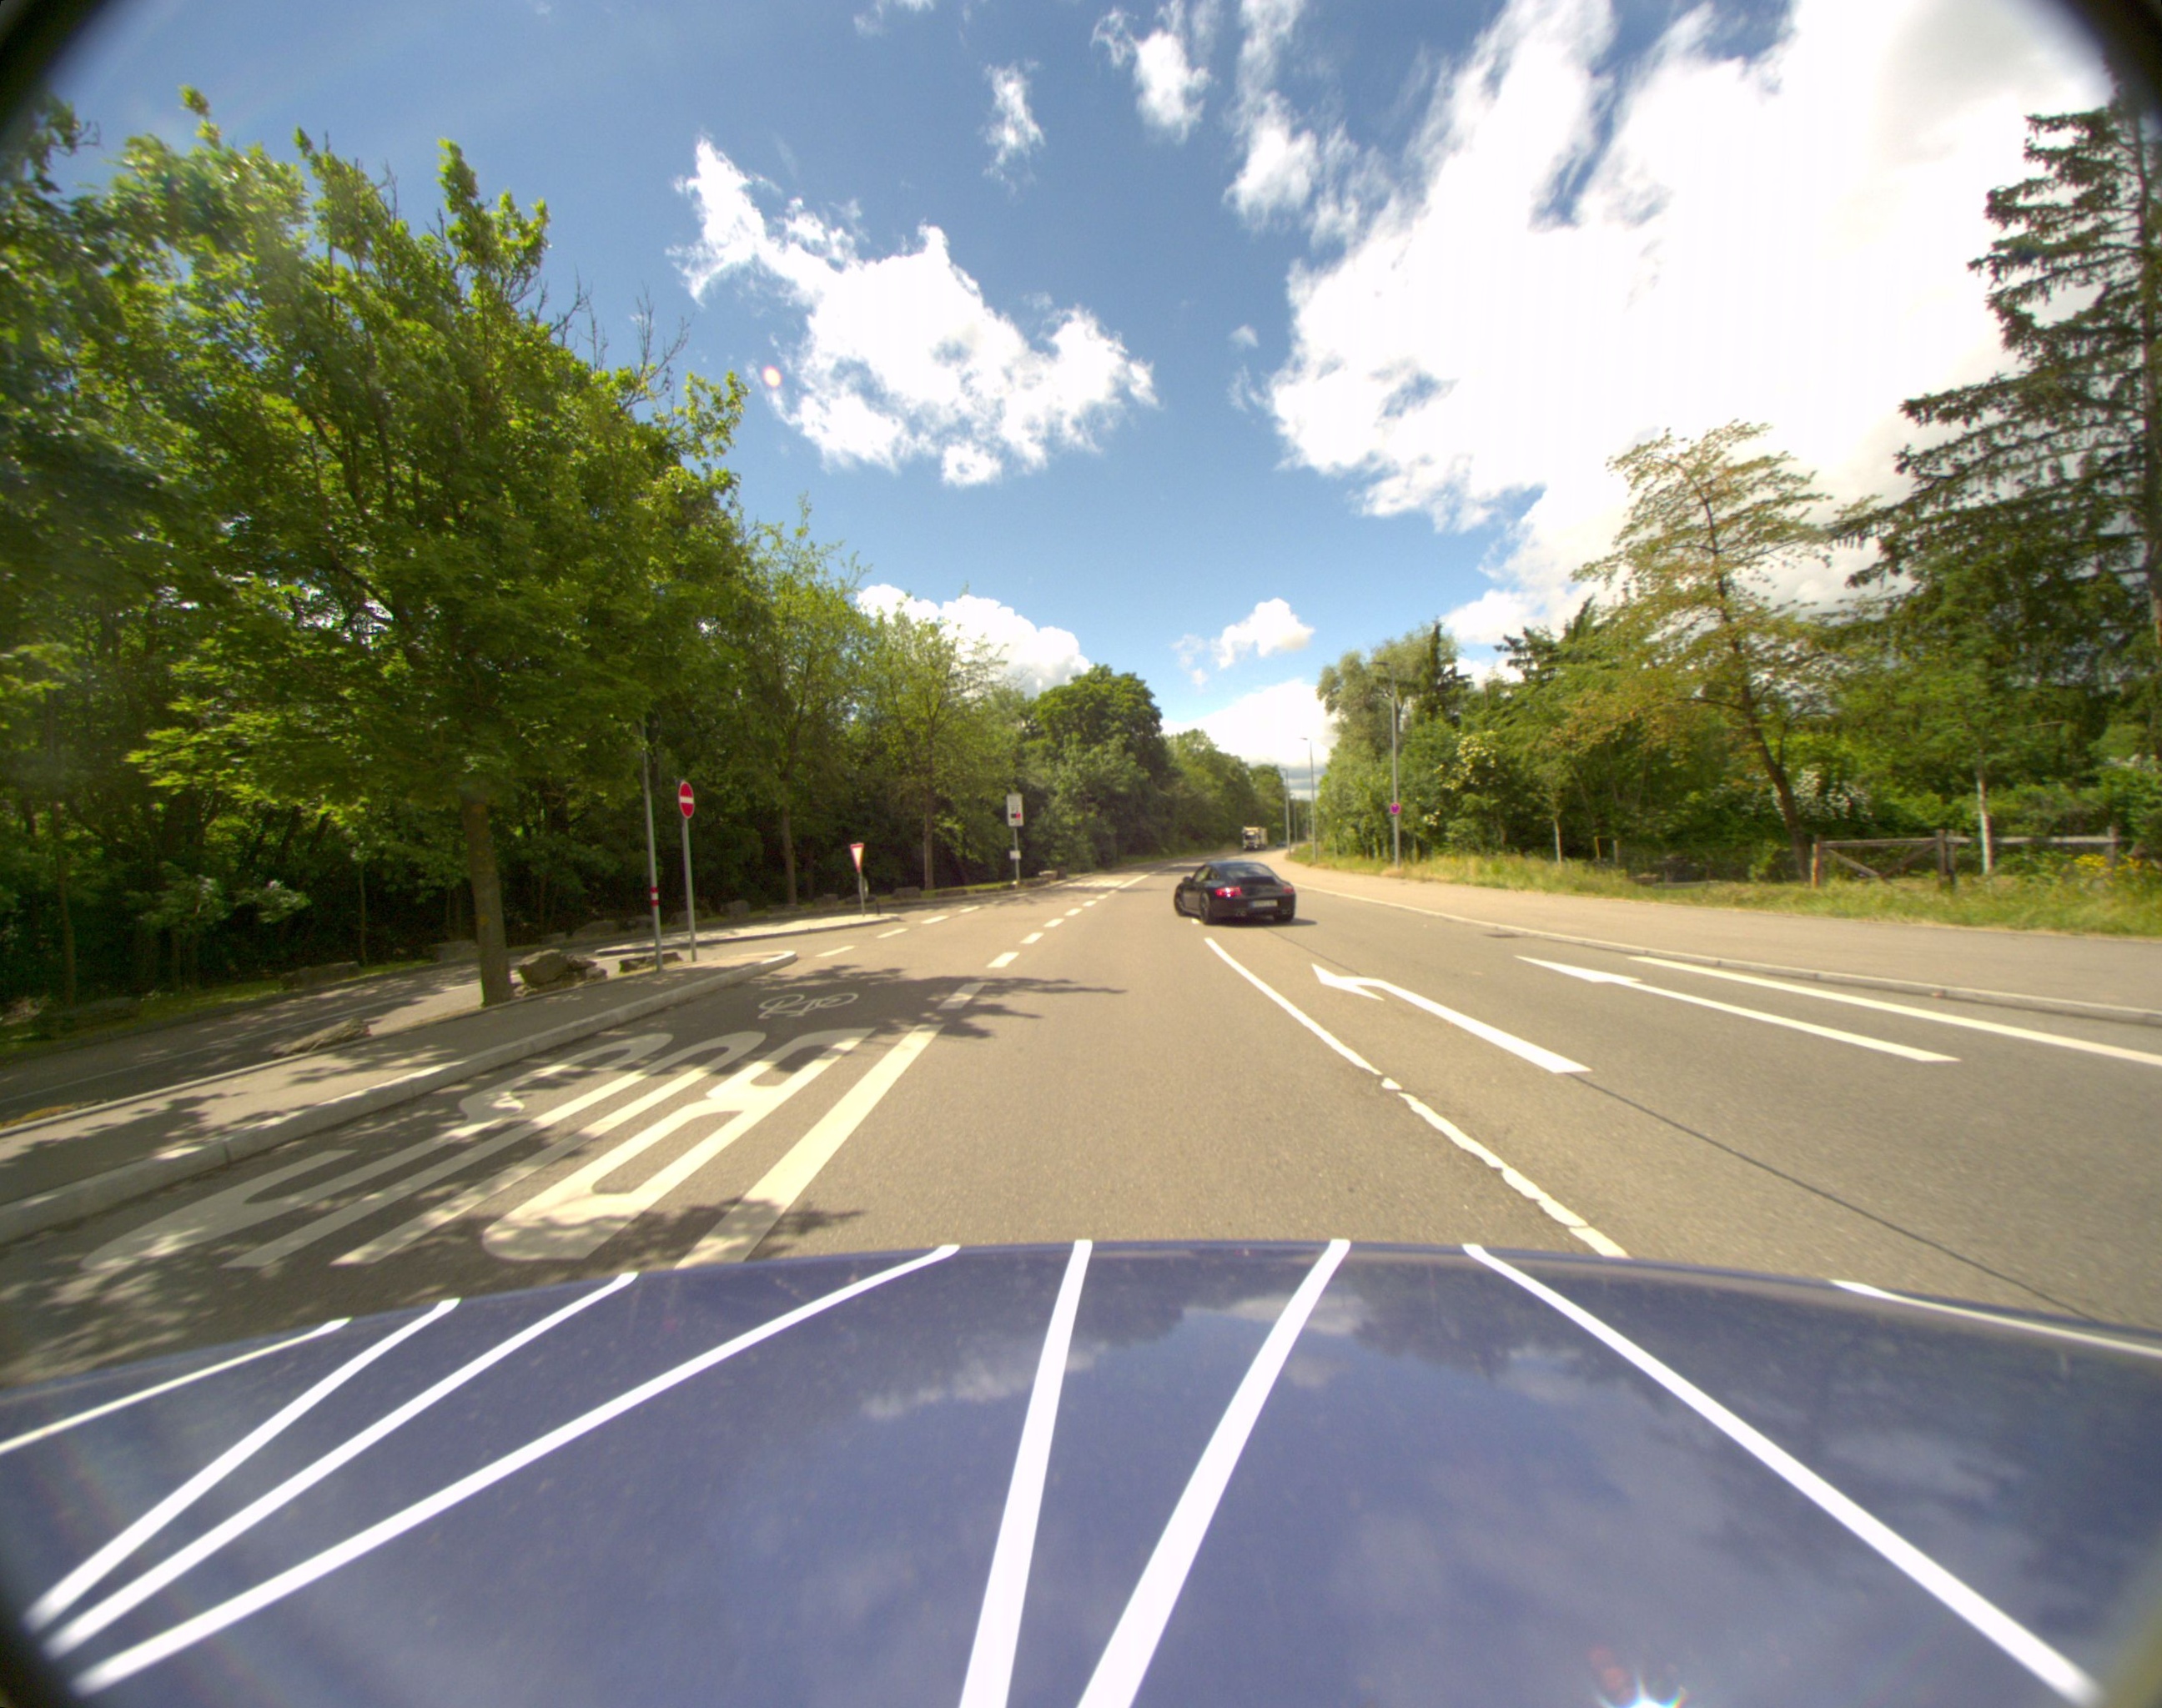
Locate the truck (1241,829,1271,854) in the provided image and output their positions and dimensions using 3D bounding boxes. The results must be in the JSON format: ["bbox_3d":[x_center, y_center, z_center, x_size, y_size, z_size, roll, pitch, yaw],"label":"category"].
[{"bbox_3d":[29.128,-2.154,126.303,3.236,3.839,9.886,-1,2,22],"label":"truck"}]

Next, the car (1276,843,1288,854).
[{"bbox_3d":[40.989,-1.116,154.900,1.995,2.002,4.005,-1,2,22],"label":"car"}]

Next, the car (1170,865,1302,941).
[{"bbox_3d":[3.205,0.962,16.516,1.739,1.293,4.002,-2,1,-4],"label":"car"}]
